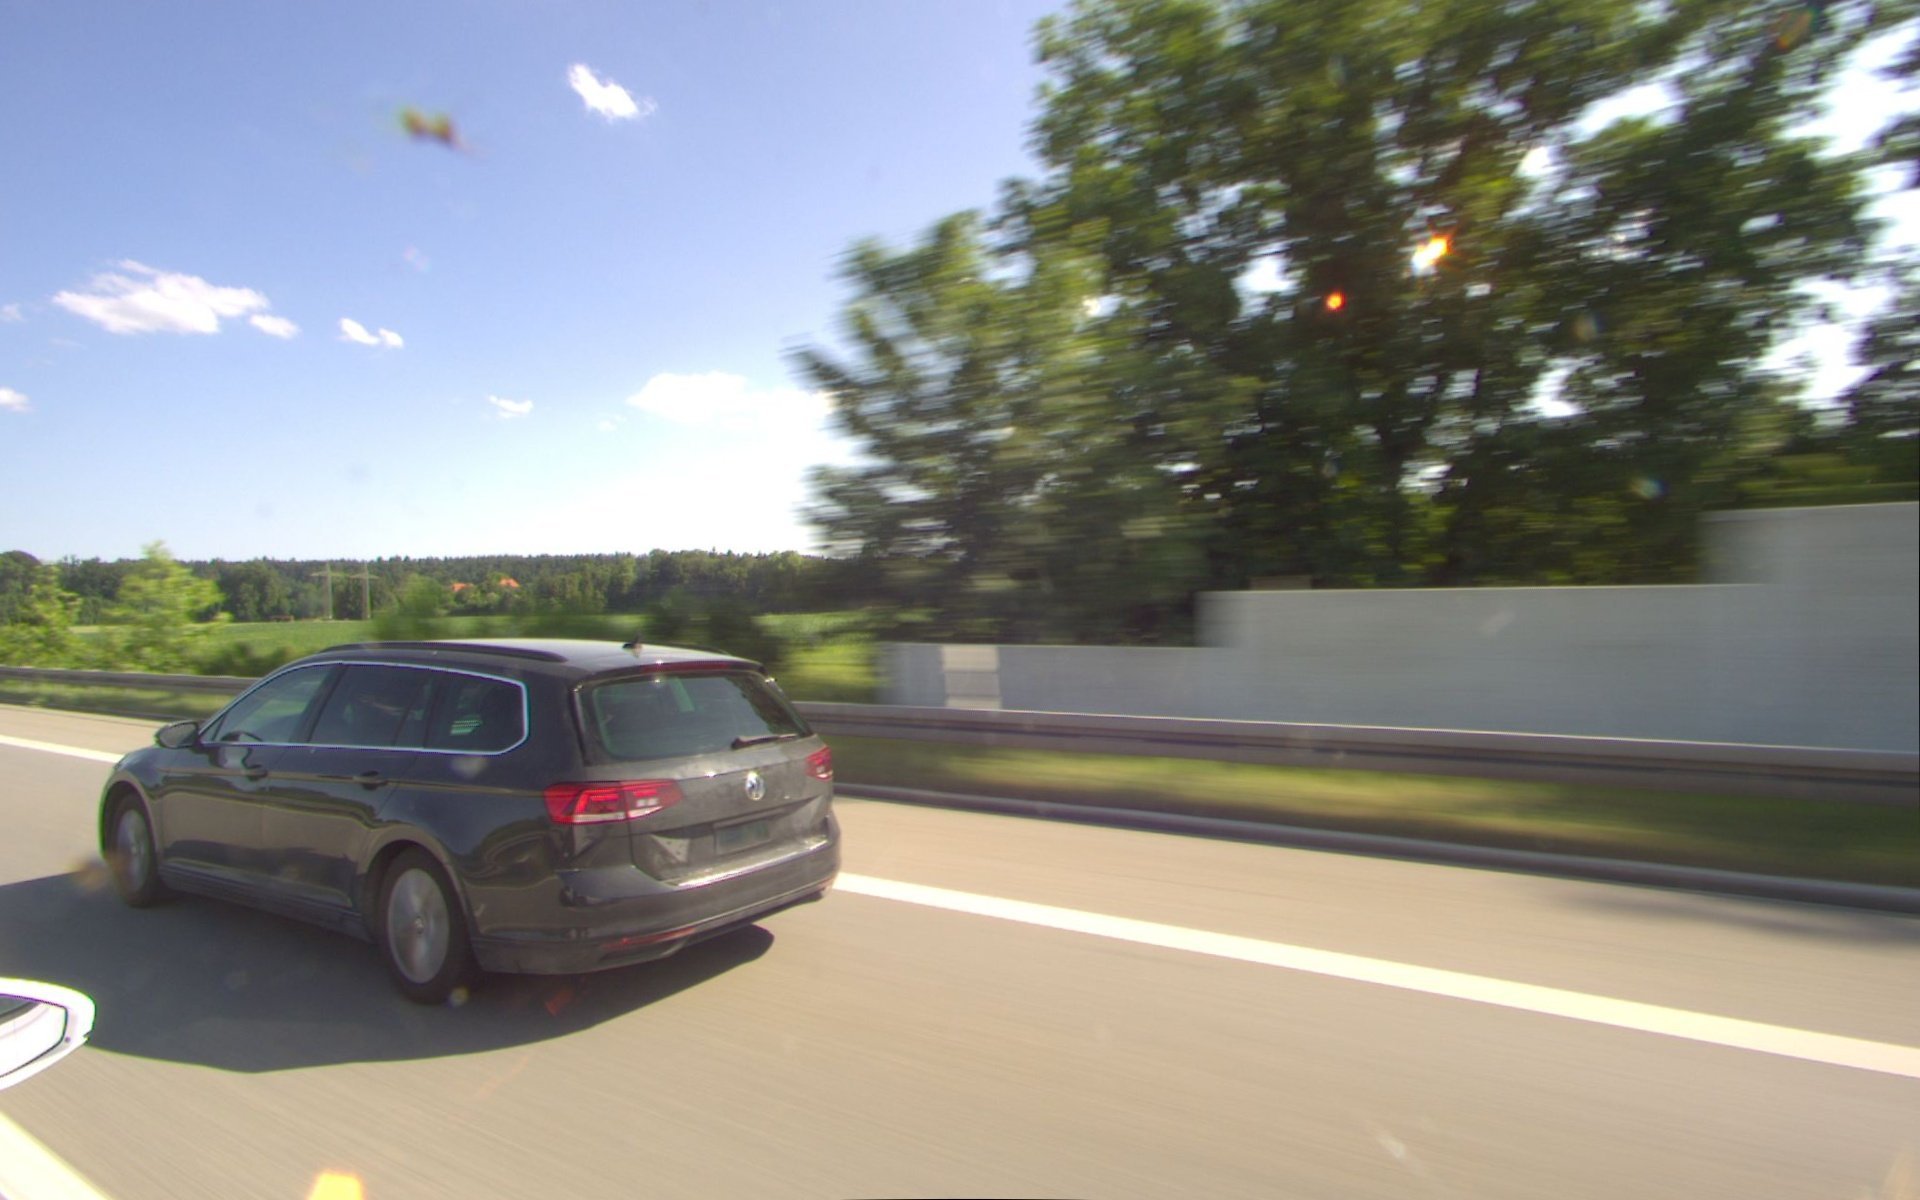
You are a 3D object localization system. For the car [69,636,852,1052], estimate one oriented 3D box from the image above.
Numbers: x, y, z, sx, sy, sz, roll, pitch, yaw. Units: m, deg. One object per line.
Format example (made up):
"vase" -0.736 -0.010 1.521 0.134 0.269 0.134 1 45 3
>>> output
"car" -2.811 0.912 5.317 4.350 1.417 1.716 -2 -2 32
